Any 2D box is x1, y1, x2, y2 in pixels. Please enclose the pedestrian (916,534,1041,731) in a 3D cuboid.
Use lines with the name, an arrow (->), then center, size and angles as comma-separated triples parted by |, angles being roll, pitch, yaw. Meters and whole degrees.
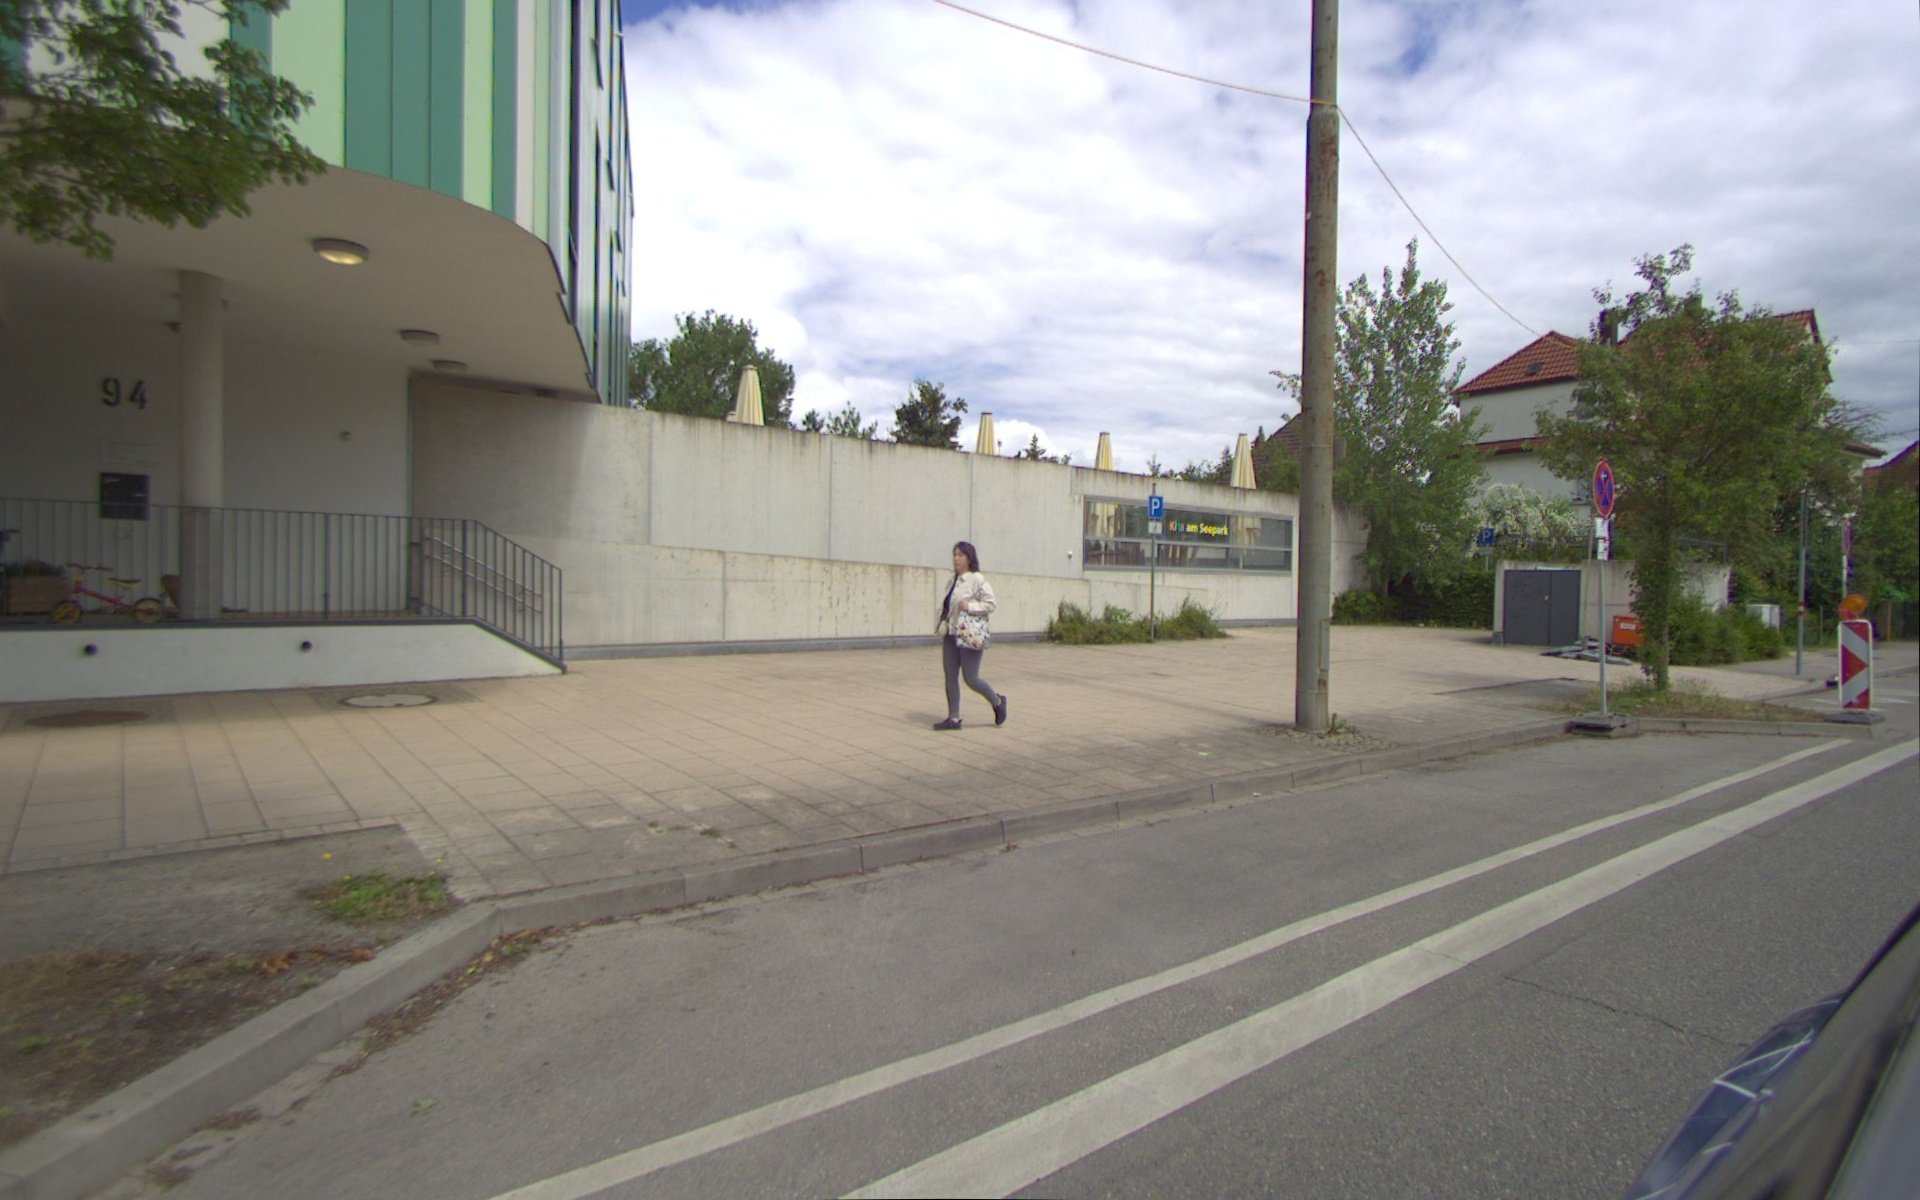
pedestrian -> 0.157, 0.247, 8.572 | 0.853, 1.570, 0.582 | 0, 2, -41

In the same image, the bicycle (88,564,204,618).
bicycle -> -7.245, -0.074, 9.032 | 0.784, 0.458, 0.307 | 1, 2, -35

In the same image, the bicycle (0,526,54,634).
bicycle -> -7.792, -0.181, 8.367 | 0.301, 0.852, 1.026 | 1, 2, -34
